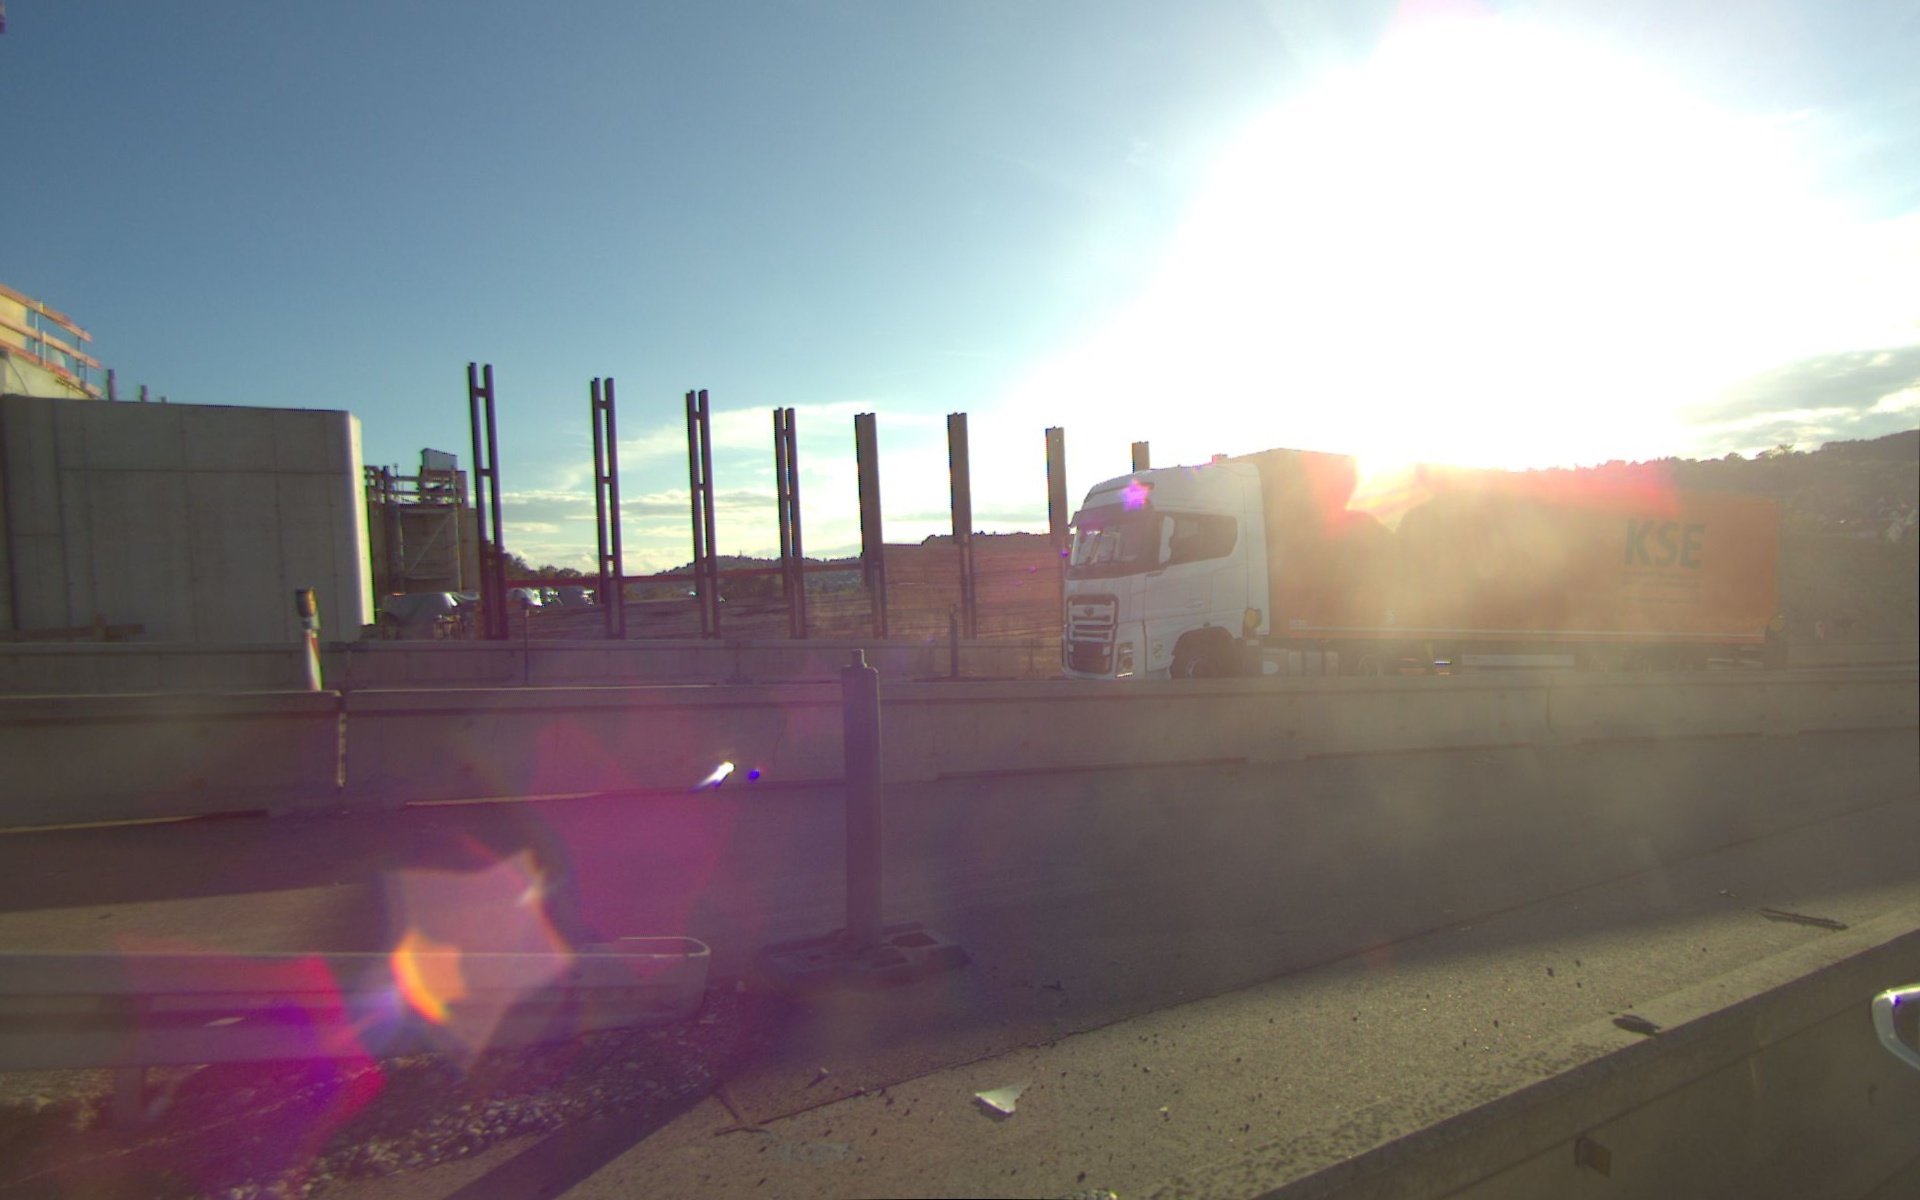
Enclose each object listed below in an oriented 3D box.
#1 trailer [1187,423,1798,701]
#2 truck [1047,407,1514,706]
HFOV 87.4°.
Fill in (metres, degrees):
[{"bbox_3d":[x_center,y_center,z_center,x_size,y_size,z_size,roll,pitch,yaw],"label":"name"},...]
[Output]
[{"bbox_3d":[11.201,-0.511,20.302,13.932,4.531,2.578,1,1,-23],"label":"trailer"},{"bbox_3d":[5.836,-0.601,18.024,8.213,4.531,2.578,1,1,-23],"label":"truck"}]
